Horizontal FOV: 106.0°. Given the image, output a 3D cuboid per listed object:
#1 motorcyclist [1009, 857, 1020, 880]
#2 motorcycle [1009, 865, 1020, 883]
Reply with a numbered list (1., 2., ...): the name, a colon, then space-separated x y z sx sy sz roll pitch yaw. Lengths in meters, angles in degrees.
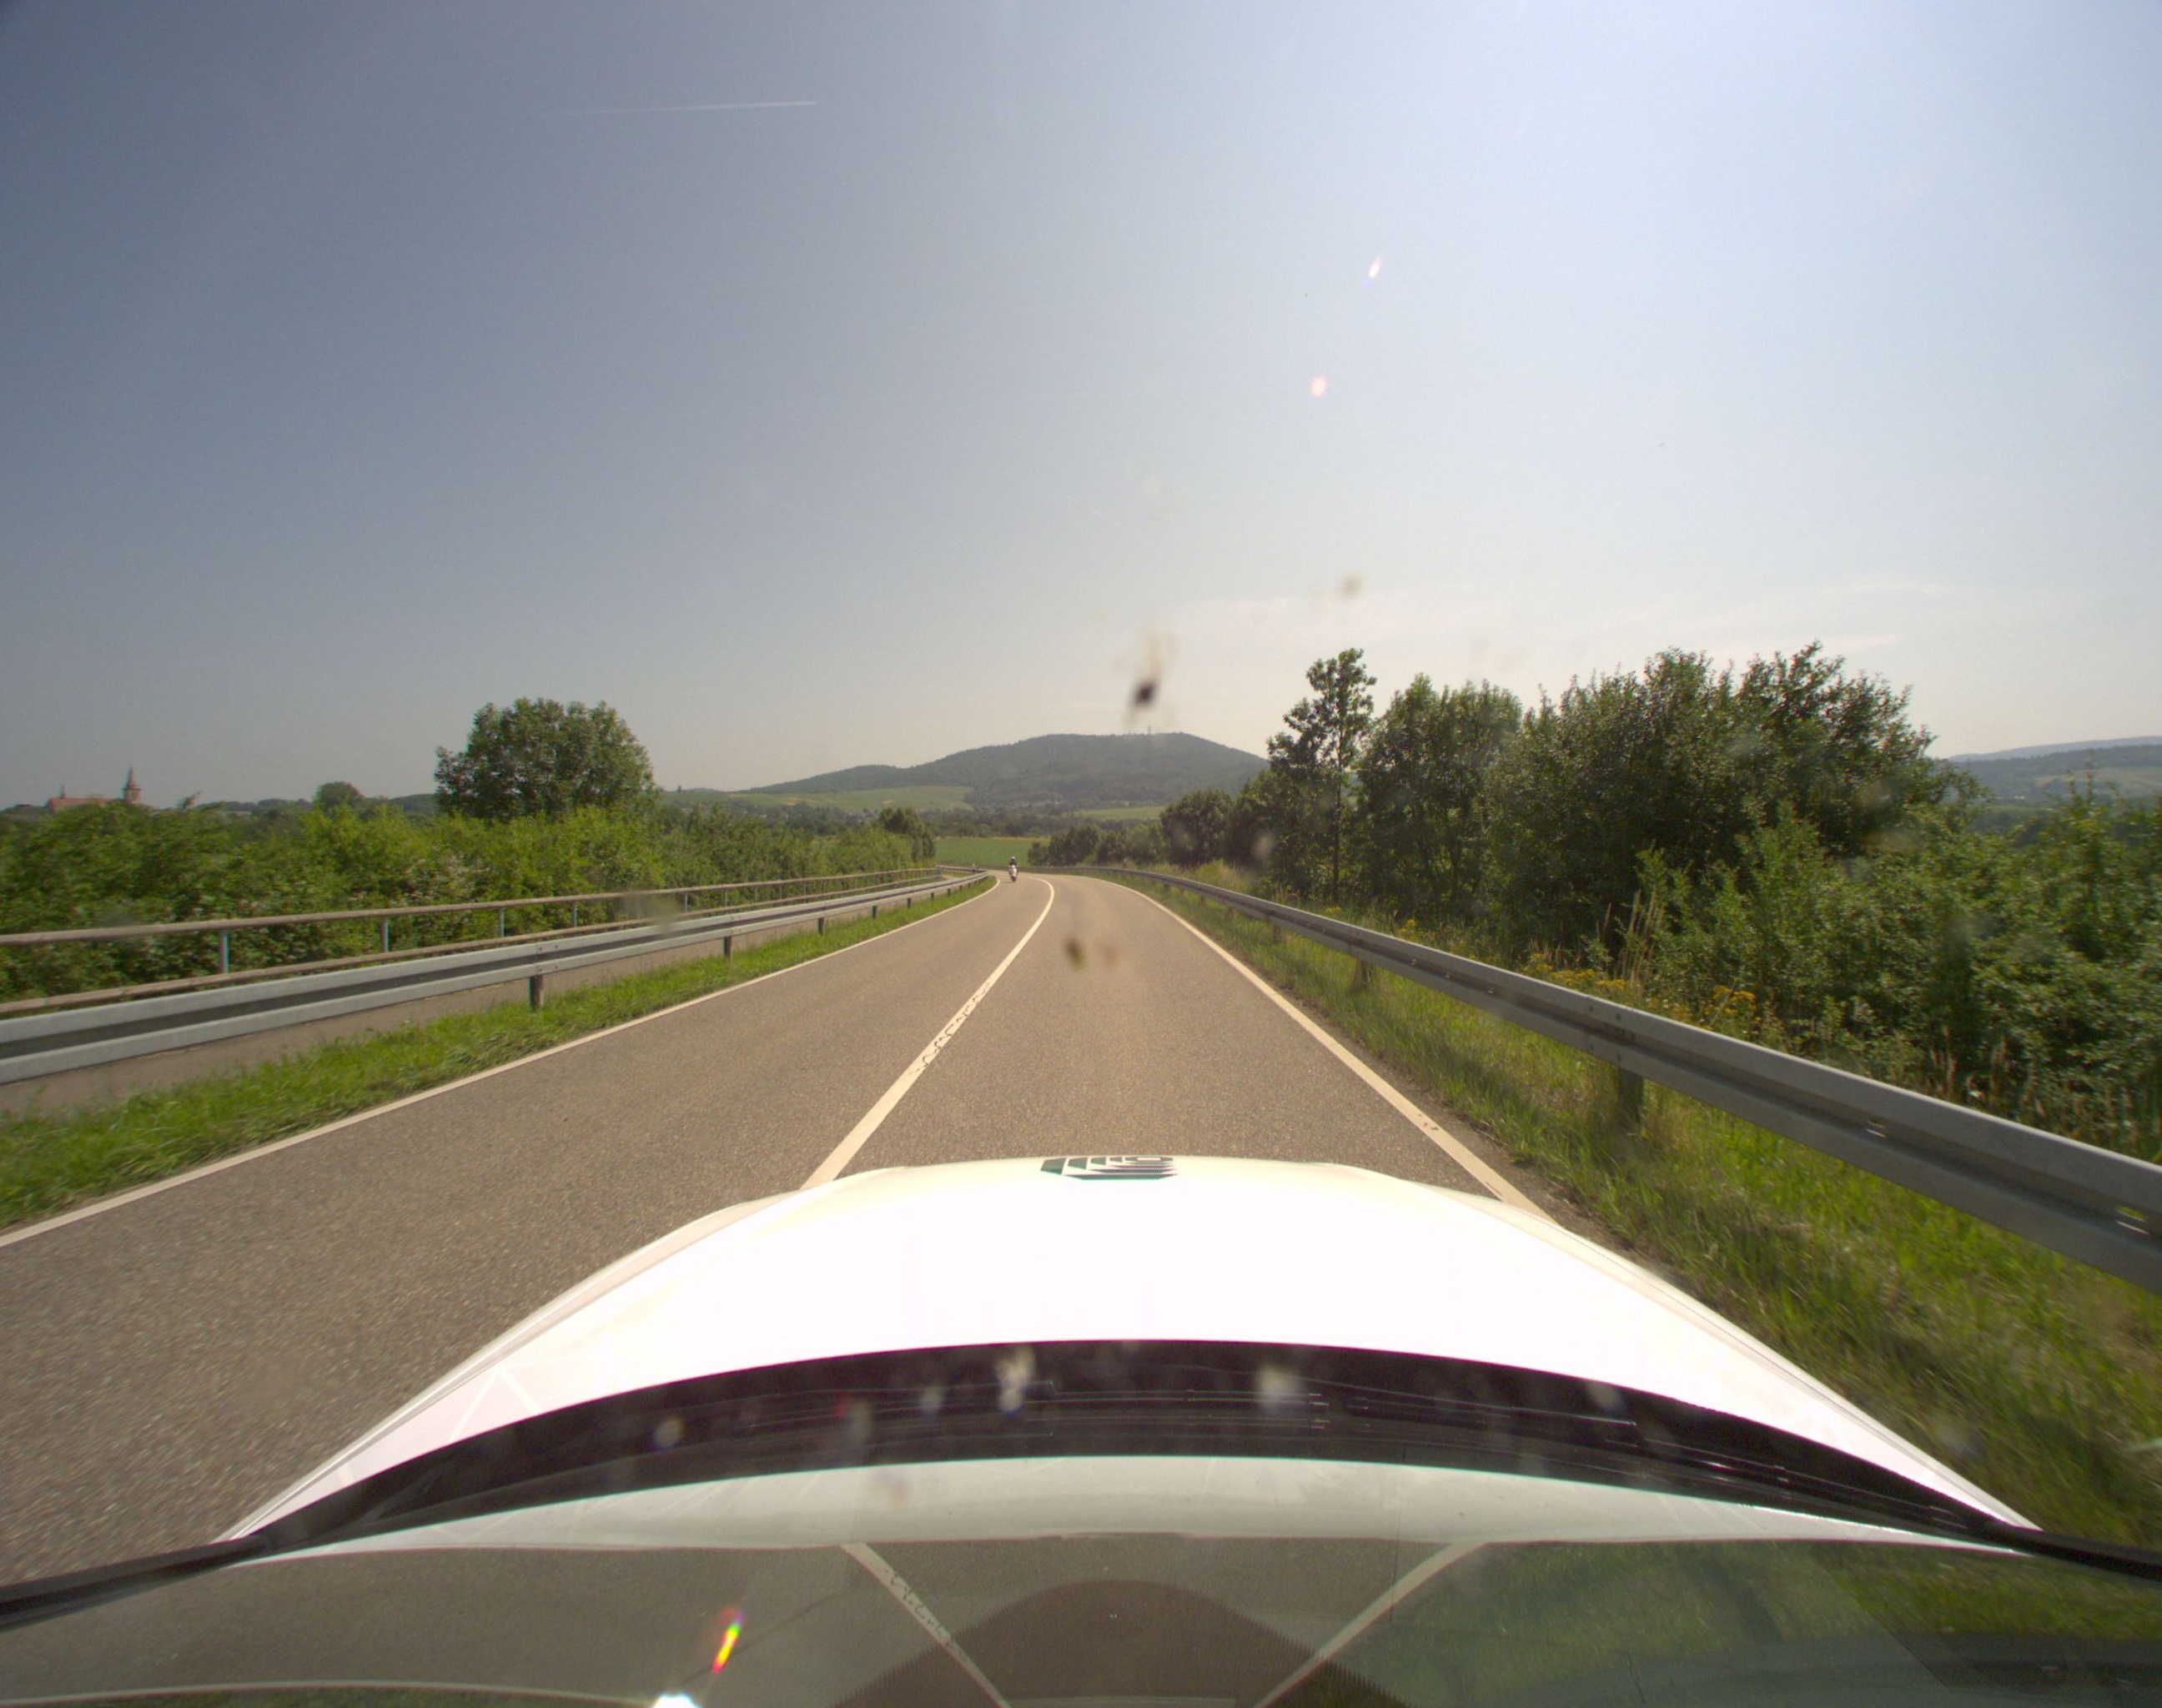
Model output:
1. motorcyclist: -4.589 1.004 56.342 0.653 1.562 0.774 -3 -1 -5
2. motorcycle: -4.583 1.369 56.320 0.642 1.223 1.636 -3 0 -4
